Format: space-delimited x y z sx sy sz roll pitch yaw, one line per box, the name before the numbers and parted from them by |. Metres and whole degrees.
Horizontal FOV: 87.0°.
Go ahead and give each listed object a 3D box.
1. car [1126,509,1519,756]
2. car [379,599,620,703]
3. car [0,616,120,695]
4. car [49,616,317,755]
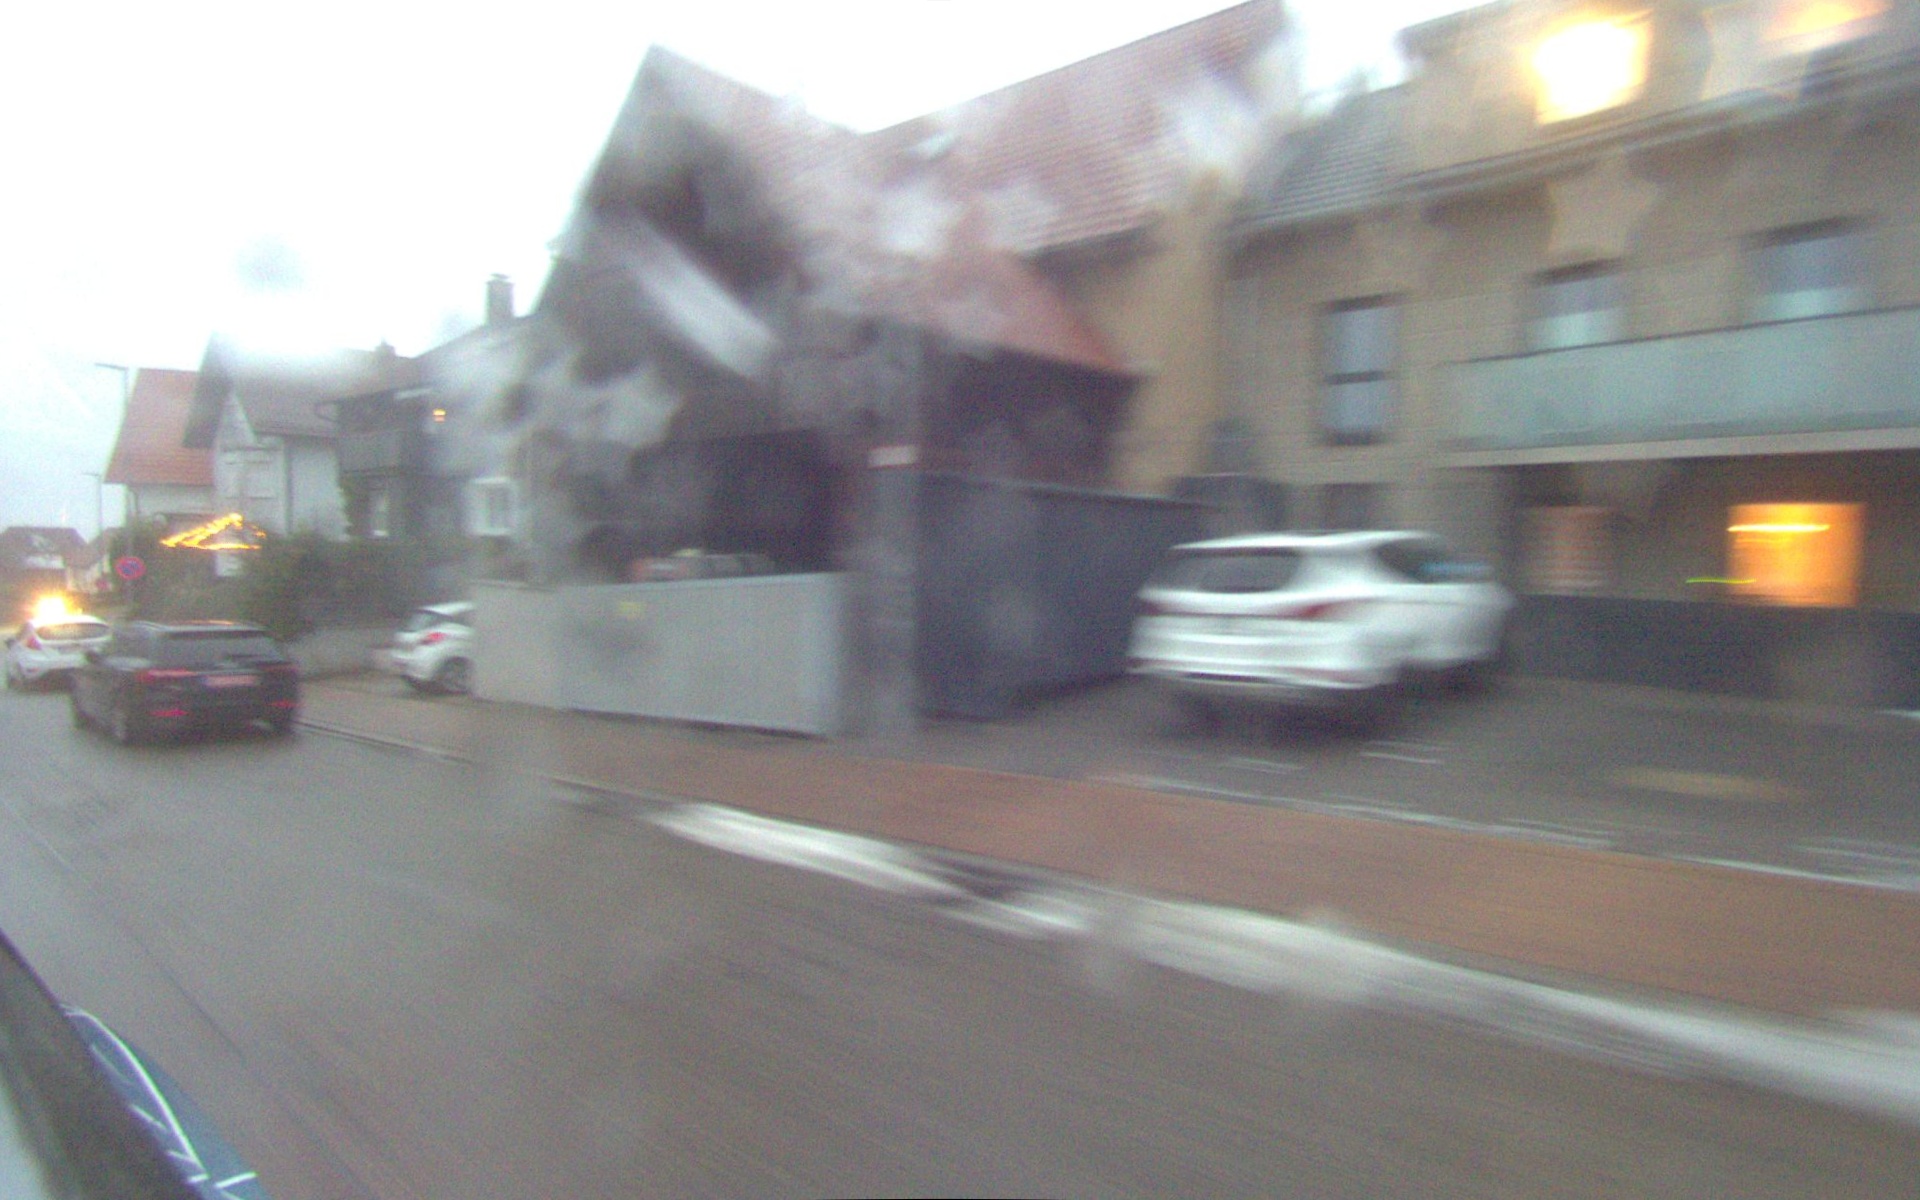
car | 3.493 0.100 9.327 2.000 1.759 3.944 1 4 43
car | -8.002 0.813 17.749 1.774 1.539 3.424 -1 1 45
car | -18.836 1.075 21.044 3.655 1.449 1.601 0 0 42
car | -10.256 0.949 13.187 5.073 1.405 1.858 0 0 42
